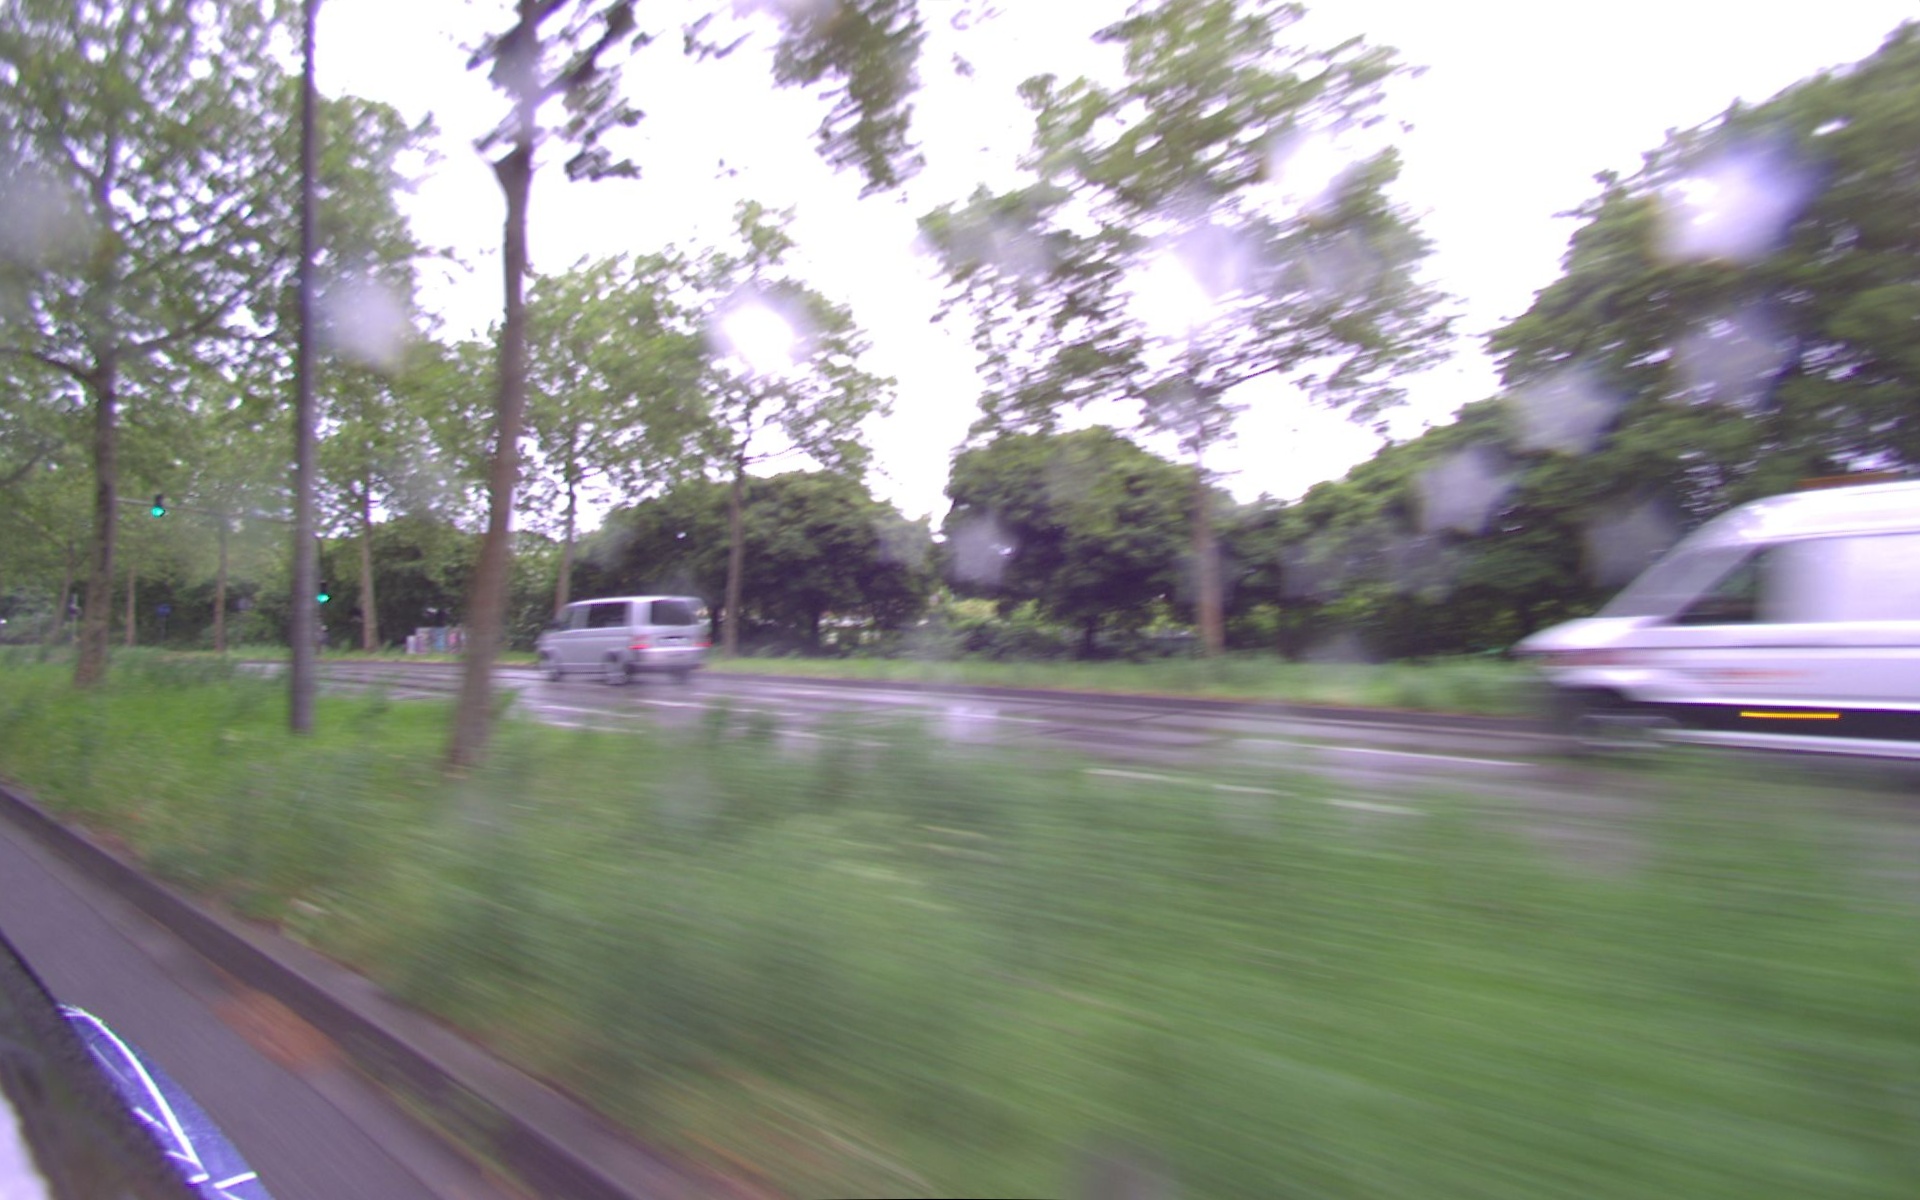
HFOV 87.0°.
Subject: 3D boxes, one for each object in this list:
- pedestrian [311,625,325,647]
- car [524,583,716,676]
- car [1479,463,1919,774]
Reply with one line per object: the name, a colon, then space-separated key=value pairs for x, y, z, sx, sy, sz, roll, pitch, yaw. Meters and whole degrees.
pedestrian: x=-31.773 y=1.785 z=50.108 sx=0.441 sy=1.048 sz=0.470 roll=-2 pitch=-3 yaw=39
car: x=-8.024 y=0.692 z=23.631 sx=5.195 sy=1.955 sz=1.914 roll=-1 pitch=-2 yaw=41
car: x=8.300 y=0.167 z=8.779 sx=2.252 sy=2.445 sz=6.364 roll=2 pitch=-2 yaw=-44
